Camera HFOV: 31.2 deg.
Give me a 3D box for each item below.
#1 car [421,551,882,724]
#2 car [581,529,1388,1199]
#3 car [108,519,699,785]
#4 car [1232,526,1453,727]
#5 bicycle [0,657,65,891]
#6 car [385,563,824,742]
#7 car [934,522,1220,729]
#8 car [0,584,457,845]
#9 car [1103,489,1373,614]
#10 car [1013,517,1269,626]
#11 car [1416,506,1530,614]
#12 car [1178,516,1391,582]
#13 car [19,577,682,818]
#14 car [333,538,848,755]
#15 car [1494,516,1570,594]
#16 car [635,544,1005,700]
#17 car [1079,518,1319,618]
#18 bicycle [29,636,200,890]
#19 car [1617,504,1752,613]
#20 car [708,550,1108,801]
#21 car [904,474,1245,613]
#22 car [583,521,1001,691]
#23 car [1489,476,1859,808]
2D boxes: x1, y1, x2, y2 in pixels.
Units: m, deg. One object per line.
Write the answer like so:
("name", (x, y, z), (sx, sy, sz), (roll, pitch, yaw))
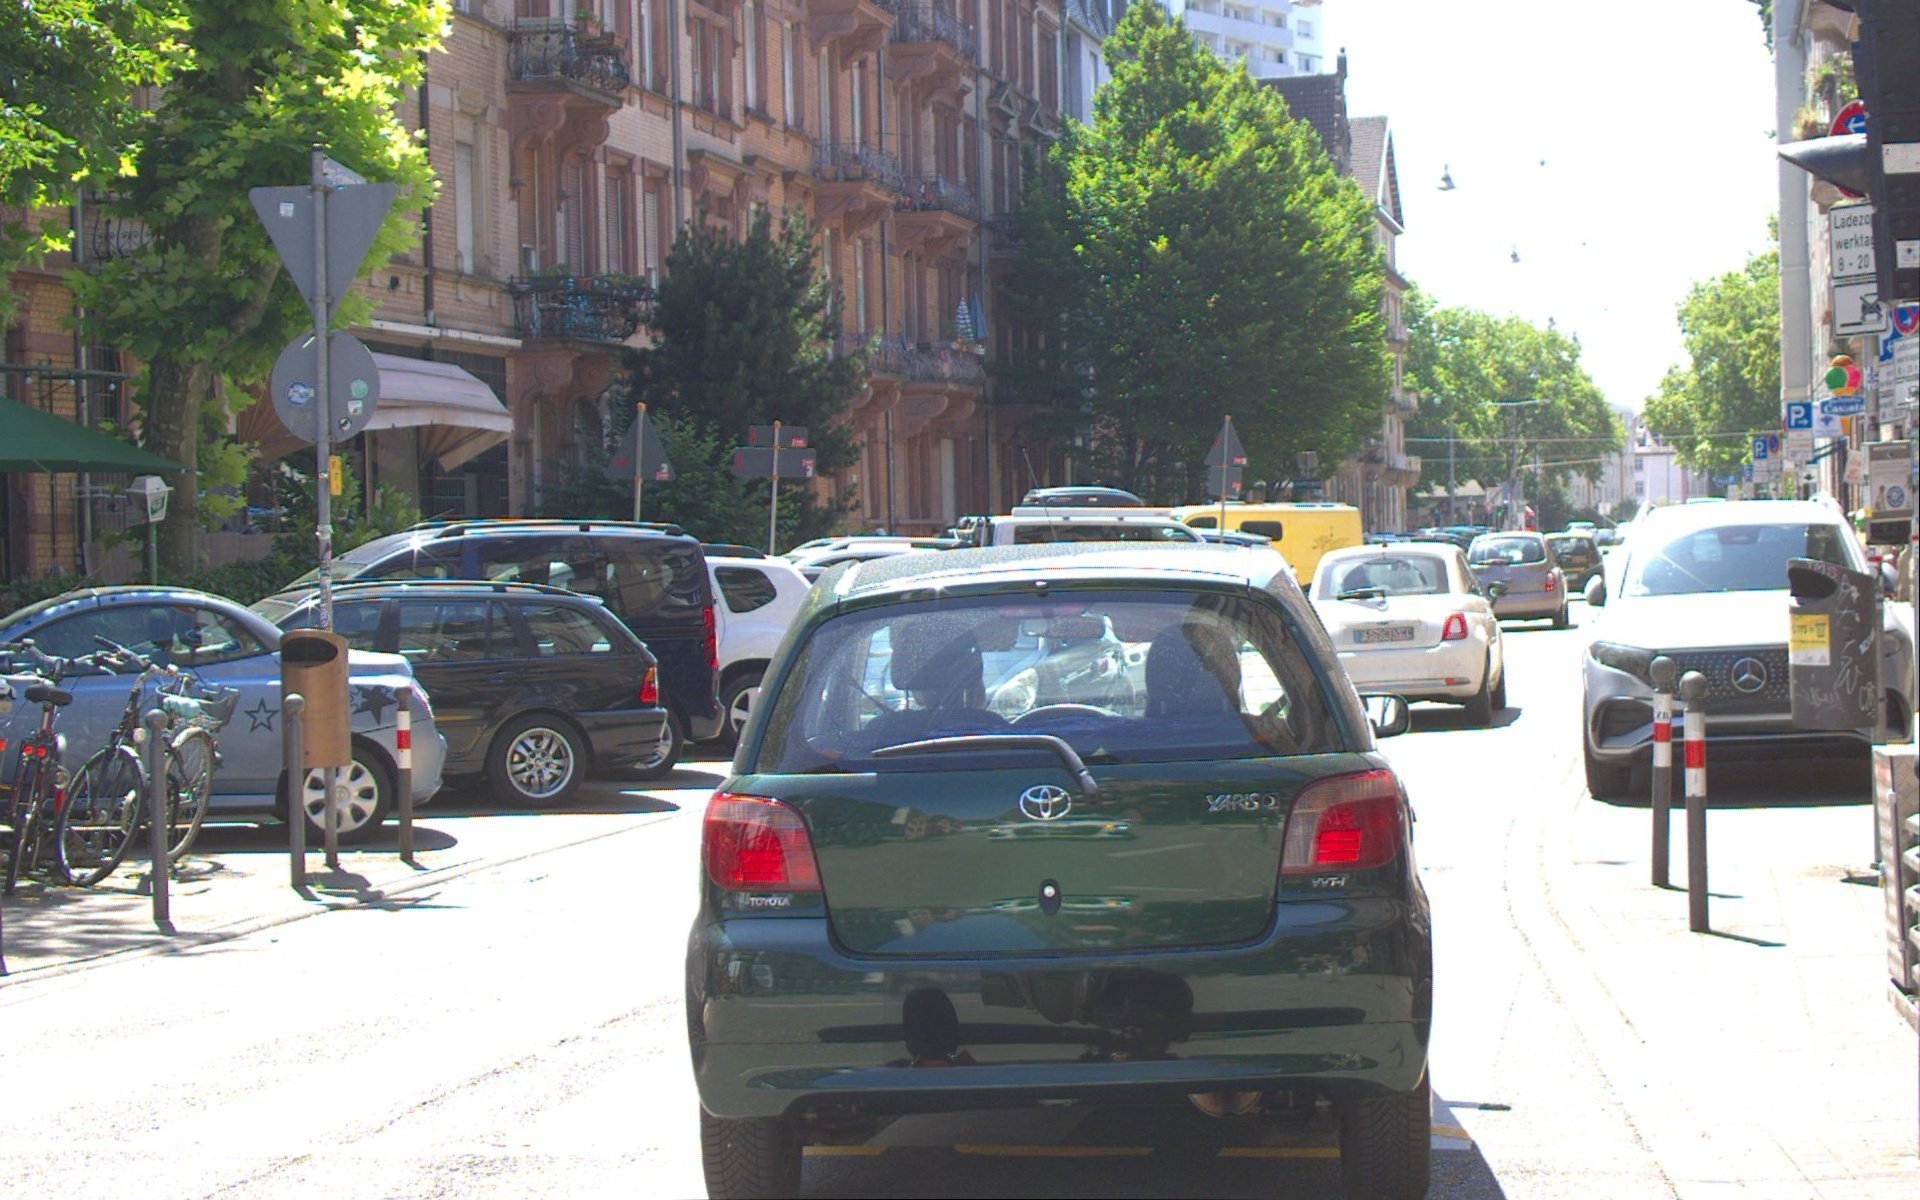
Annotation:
("car", (-2.923, 0.318, 32.645), (3.910, 1.465, 1.866), (-2, 1, -29))
("car", (0.045, 0.602, 8.708), (1.613, 1.480, 3.241), (-2, 1, 0))
("car", (-4.021, 0.321, 24.727), (3.986, 1.798, 1.769), (0, 1, -17))
("car", (3.237, 0.176, 28.673), (1.523, 1.516, 3.262), (-1, 2, 11))
("bicycle", (-4.906, 0.862, 17.007), (0.490, 1.077, 1.899), (0, 1, -1))
("car", (-3.083, 0.424, 29.510), (3.618, 1.453, 1.625), (0, 1, -11))
("car", (1.155, 0.173, 31.549), (1.755, 1.639, 4.375), (-4, 0, 12))
("car", (-5.040, 0.620, 19.787), (3.986, 1.371, 2.001), (0, 1, -17))
("car", (5.155, -0.921, 63.975), (4.556, 2.180, 2.001), (-2, 1, -15))
("car", (3.025, -0.490, 57.686), (3.909, 1.702, 1.866), (-2, 1, -11))
("car", (8.026, -0.646, 53.661), (1.523, 1.587, 3.262), (-1, 2, 12))
("car", (7.648, -1.216, 81.039), (4.556, 1.429, 2.001), (-2, 1, -15))
("car", (-4.003, 0.581, 22.447), (3.986, 1.407, 1.972), (0, 1, -20))
("car", (-3.006, 0.338, 27.655), (3.986, 1.652, 1.760), (0, 1, -11))
("car", (12.375, -0.989, 74.302), (1.523, 1.587, 3.262), (-1, 2, 11))
("car", (-1.615, 0.220, 39.015), (3.909, 1.613, 1.866), (-2, 1, -11))
("car", (4.192, -0.568, 60.543), (3.861, 1.634, 1.786), (-2, 1, -11))
("bicycle", (-4.273, 0.797, 17.465), (0.490, 1.169, 1.685), (0, 1, -1))
("car", (10.260, -0.610, 48.659), (1.755, 1.424, 3.998), (-2, 1, 12))
("car", (-0.241, 0.436, 22.823), (1.755, 1.439, 3.998), (-2, 1, 12))
("car", (1.744, -0.881, 52.756), (4.772, 1.987, 2.054), (-2, 1, -17))
("car", (-1.752, 0.033, 35.968), (3.910, 1.613, 1.866), (-2, 1, -28))
("car", (4.328, 0.181, 20.795), (1.872, 1.707, 4.501), (-3, 1, 12))
